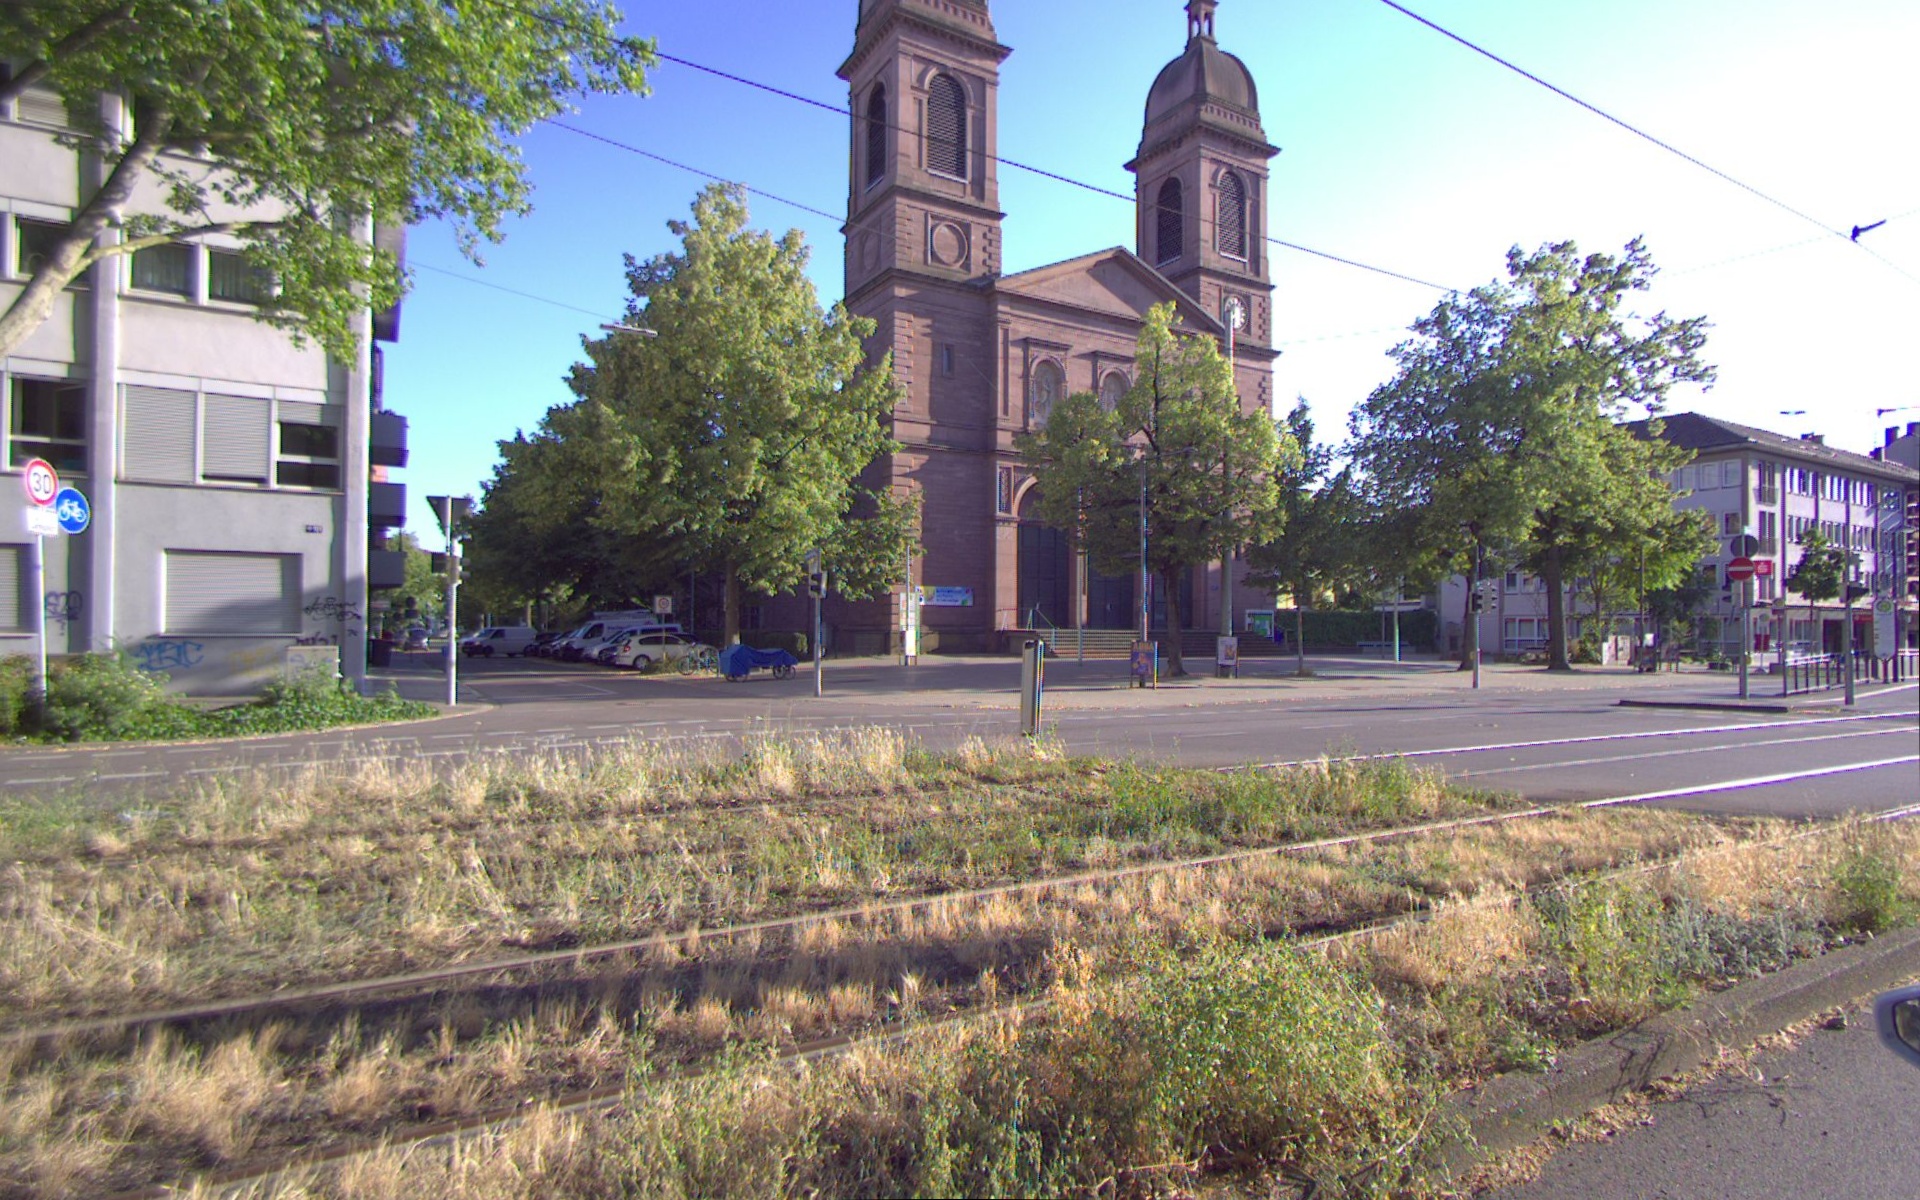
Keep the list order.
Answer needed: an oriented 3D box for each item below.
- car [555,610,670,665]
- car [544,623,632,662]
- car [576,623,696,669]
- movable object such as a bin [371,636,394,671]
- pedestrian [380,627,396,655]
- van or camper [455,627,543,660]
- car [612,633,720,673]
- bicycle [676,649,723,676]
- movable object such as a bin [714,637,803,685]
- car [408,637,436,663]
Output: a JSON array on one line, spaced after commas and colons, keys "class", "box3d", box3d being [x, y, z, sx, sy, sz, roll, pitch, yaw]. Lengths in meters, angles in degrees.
[{"class": "car", "box3d": [-18.307, 1.978, 53.105, 5.382, 2.710, 1.980, 2, 0, -36]}, {"class": "car", "box3d": [-20.436, 2.321, 55.262, 4.174, 2.040, 1.981, 2, 0, -34]}, {"class": "car", "box3d": [-15.534, 2.192, 48.311, 5.121, 2.040, 1.981, 2, 0, -34]}, {"class": "movable object such as a bin", "box3d": [-22.314, 2.044, 38.801, 0.737, 1.323, 0.865, 1, -2, -32]}, {"class": "pedestrian", "box3d": [-35.694, 2.550, 62.720, 0.634, 1.774, 0.684, -1, -2, 44]}, {"class": "van or camper", "box3d": [-30.028, 2.796, 65.581, 1.963, 2.040, 5.130, 0, -2, 26]}, {"class": "car", "box3d": [-12.238, 2.191, 41.817, 3.953, 1.479, 1.984, 2, 0, -30]}, {"class": "bicycle", "box3d": [-9.073, 2.175, 34.958, 1.517, 0.904, 0.465, 2, 0, -27]}, {"class": "movable object such as a bin", "box3d": [-6.165, 1.843, 30.708, 2.416, 1.228, 1.102, -3, 2, -30]}, {"class": "car", "box3d": [-45.784, 4.227, 85.464, 1.976, 2.040, 3.970, 1, -2, -29]}]
